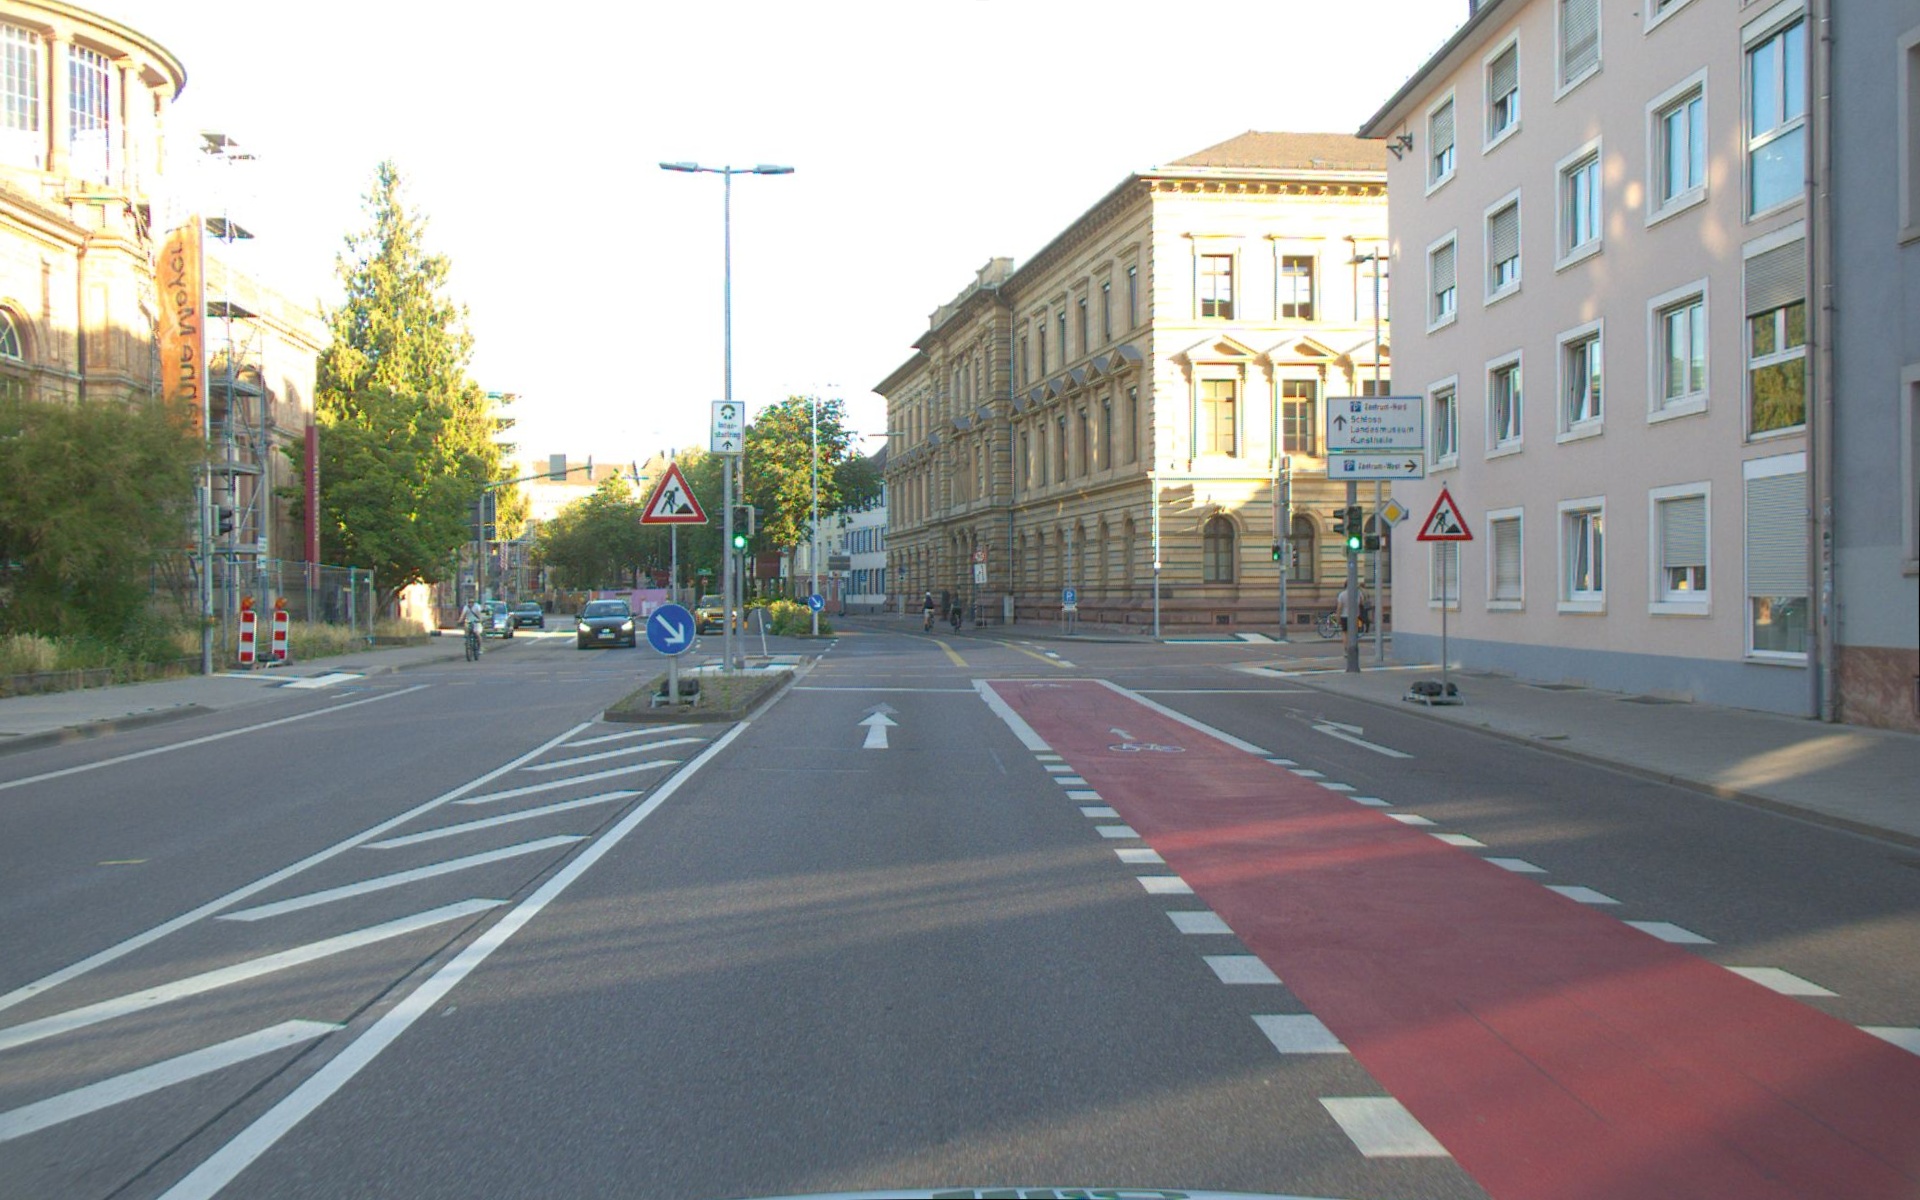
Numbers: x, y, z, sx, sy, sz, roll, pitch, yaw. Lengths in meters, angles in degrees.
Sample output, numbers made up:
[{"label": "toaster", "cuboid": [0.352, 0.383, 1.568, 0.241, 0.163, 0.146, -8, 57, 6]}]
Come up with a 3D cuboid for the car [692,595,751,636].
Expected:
[{"label": "car", "cuboid": [-9.592, 0.590, 66.743, 1.808, 1.574, 4.118, -1, 0, -1]}]

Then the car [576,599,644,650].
[{"label": "car", "cuboid": [-11.070, 0.782, 52.539, 1.789, 1.534, 4.419, -1, -1, -8]}]

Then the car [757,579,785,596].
[{"label": "car", "cuboid": [-18.354, -1.216, 160.554, 1.788, 1.587, 3.837, 0, 0, -23]}]

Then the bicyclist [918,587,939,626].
[{"label": "bicyclist", "cuboid": [-1.324, 0.268, 69.469, 0.658, 1.593, 0.695, 2, -1, -18]}]

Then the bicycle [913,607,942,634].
[{"label": "bicycle", "cuboid": [-1.365, 0.848, 69.554, 0.659, 1.090, 1.891, 1, -1, -18]}]

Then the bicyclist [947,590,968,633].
[{"label": "bicyclist", "cuboid": [-0.097, 0.465, 69.744, 0.639, 1.791, 0.861, 2, 0, -16]}]

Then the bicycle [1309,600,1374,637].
[{"label": "bicycle", "cuboid": [13.230, 0.641, 57.379, 2.010, 1.228, 0.861, -1, 2, -5]}]

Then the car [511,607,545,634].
[{"label": "car", "cuboid": [-23.621, 1.101, 90.530, 1.651, 1.374, 3.873, -2, 0, -14]}]

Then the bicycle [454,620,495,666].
[{"label": "bicycle", "cuboid": [-12.747, 1.113, 43.497, 0.739, 1.109, 1.929, -2, 0, -9]}]

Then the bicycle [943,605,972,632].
[{"label": "bicycle", "cuboid": [-0.102, 0.768, 69.693, 0.642, 1.089, 2.248, 2, -1, -15]}]

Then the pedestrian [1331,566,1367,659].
[{"label": "pedestrian", "cuboid": [8.756, 0.275, 37.285, 0.768, 2.049, 0.995, 0, 0, 12]}]

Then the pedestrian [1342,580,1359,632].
[{"label": "pedestrian", "cuboid": [14.272, 0.220, 60.423, 0.446, 1.890, 0.420, 0, 0, -44]}]

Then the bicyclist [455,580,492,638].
[{"label": "bicyclist", "cuboid": [-12.771, 0.236, 43.435, 0.733, 1.486, 0.935, -2, 0, -9]}]

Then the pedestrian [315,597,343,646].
[{"label": "pedestrian", "cuboid": [-21.239, 0.713, 55.643, 0.722, 1.606, 0.761, 0, 0, -9]}]

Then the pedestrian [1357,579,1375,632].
[{"label": "pedestrian", "cuboid": [14.737, 0.201, 60.061, 0.523, 1.890, 0.622, -1, 0, 23]}]
